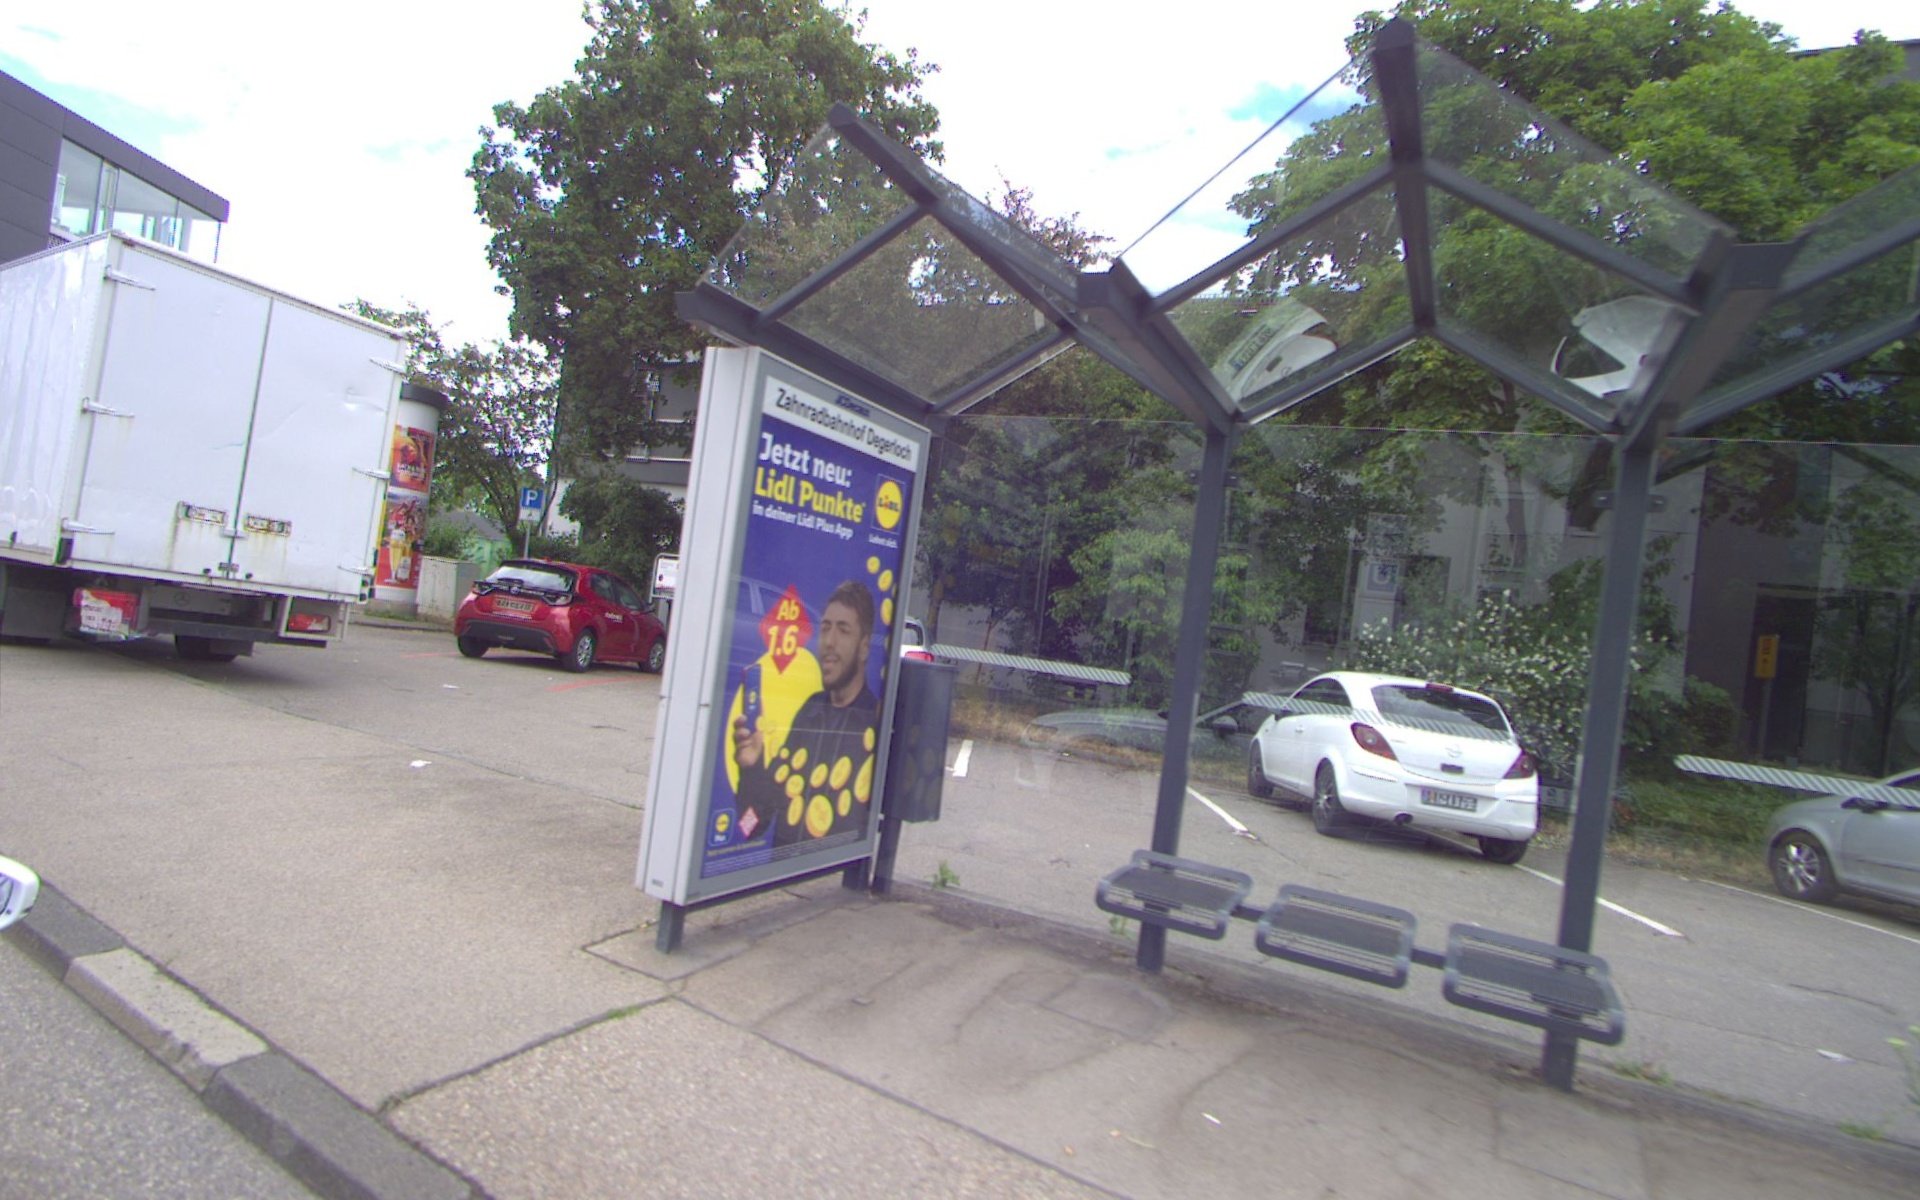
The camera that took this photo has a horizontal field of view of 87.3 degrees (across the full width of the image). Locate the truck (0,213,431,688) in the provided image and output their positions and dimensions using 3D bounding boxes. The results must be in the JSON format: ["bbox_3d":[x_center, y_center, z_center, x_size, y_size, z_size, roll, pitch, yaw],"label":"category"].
[{"bbox_3d":[-9.216,-1.406,10.750,7.683,3.568,2.576,7,0,33],"label":"truck"}]

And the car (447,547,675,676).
[{"bbox_3d":[-5.708,0.251,14.871,1.649,1.471,3.508,7,-3,3],"label":"car"}]

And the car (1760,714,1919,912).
[{"bbox_3d":[8.310,1.852,7.631,1.519,1.394,3.517,9,0,1],"label":"car"}]

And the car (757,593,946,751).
[{"bbox_3d":[-1.197,0.898,12.803,1.765,1.489,3.809,7,-3,1],"label":"car"}]

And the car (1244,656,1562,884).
[{"bbox_3d":[3.991,1.437,9.740,1.561,1.453,3.650,6,0,4],"label":"car"}]
